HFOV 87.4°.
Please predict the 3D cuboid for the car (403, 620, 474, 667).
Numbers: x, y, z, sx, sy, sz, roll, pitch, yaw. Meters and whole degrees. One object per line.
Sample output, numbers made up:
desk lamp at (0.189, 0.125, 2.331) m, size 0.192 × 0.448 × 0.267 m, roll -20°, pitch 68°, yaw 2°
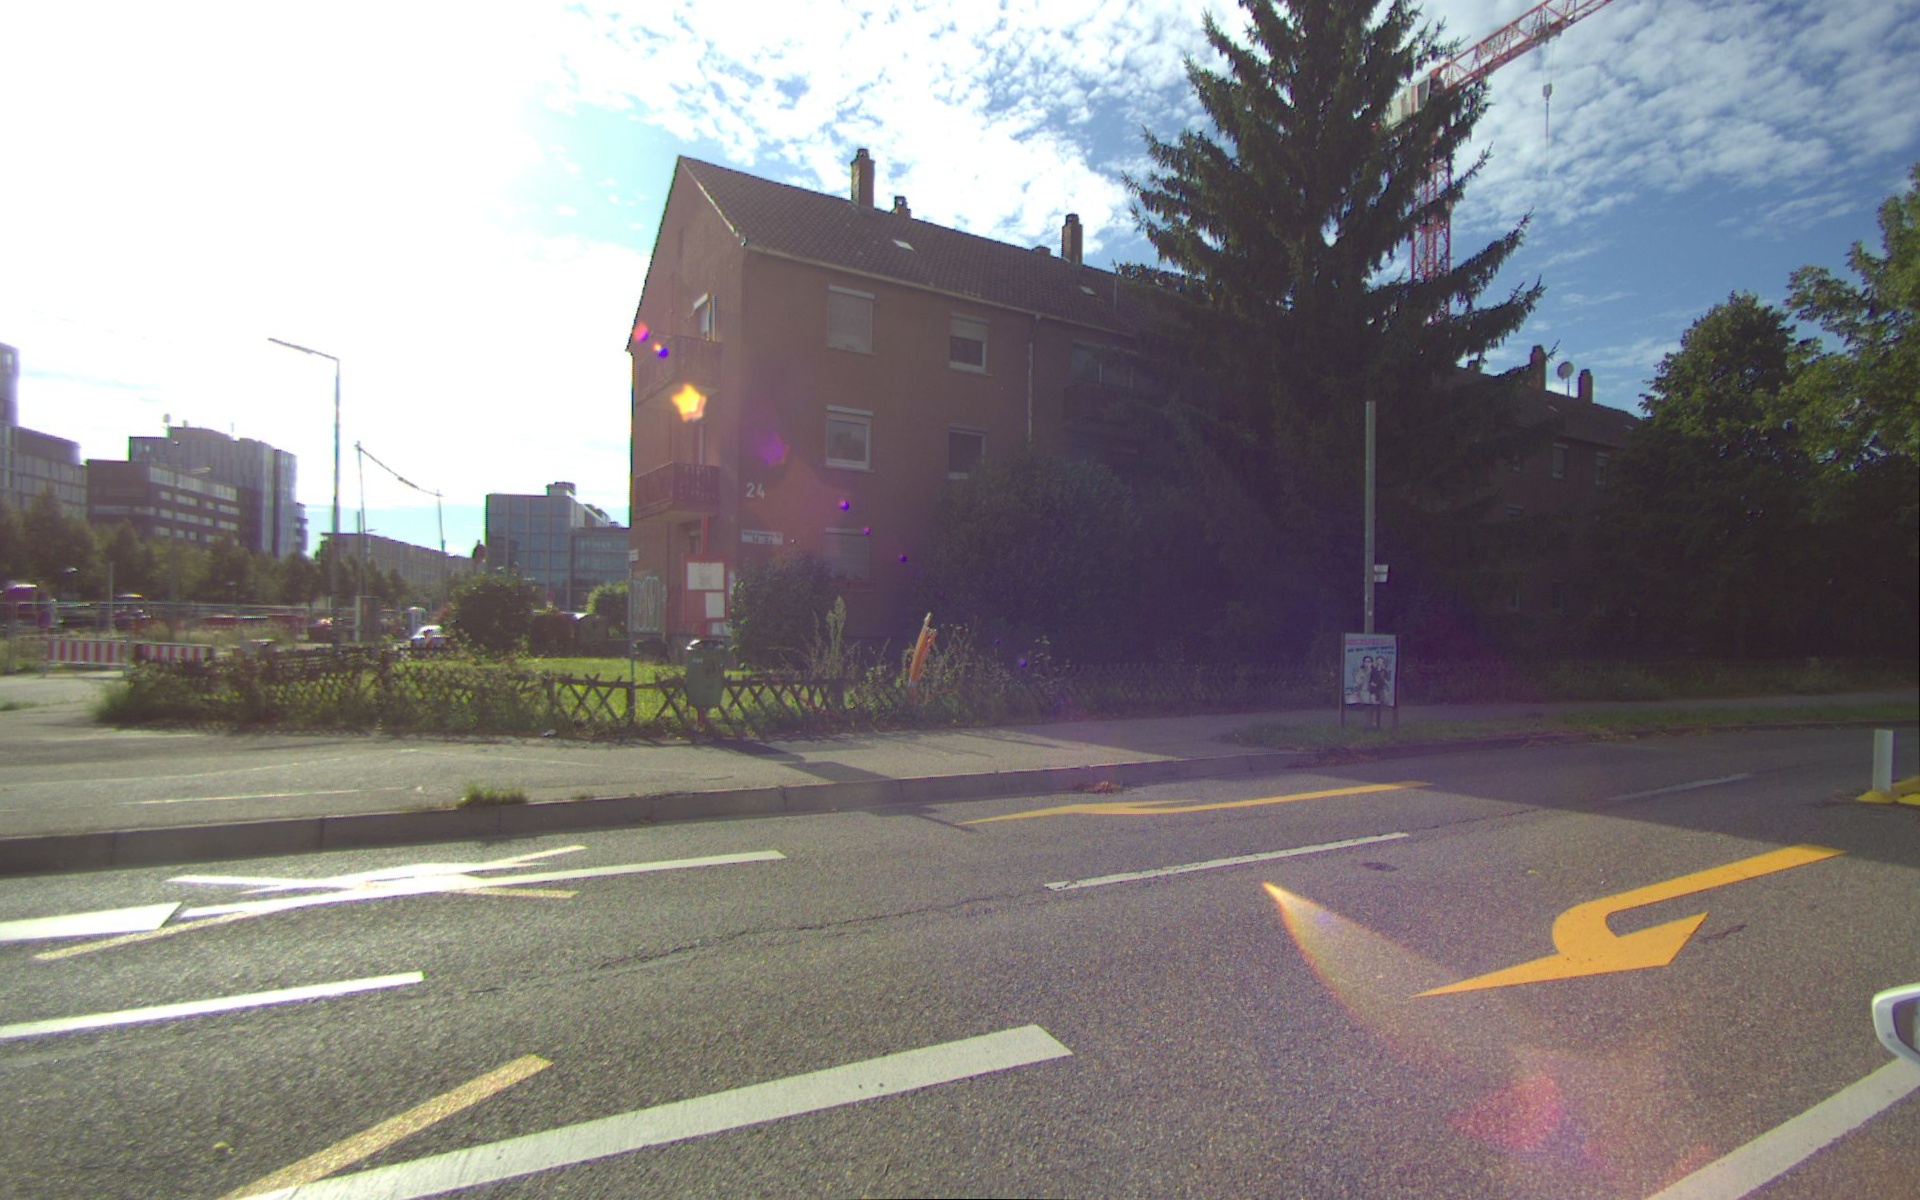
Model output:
car at (-20.953, 1.700, 40.516) m, size 1.969 × 1.576 × 3.982 m, roll 0°, pitch 2°, yaw -19°
